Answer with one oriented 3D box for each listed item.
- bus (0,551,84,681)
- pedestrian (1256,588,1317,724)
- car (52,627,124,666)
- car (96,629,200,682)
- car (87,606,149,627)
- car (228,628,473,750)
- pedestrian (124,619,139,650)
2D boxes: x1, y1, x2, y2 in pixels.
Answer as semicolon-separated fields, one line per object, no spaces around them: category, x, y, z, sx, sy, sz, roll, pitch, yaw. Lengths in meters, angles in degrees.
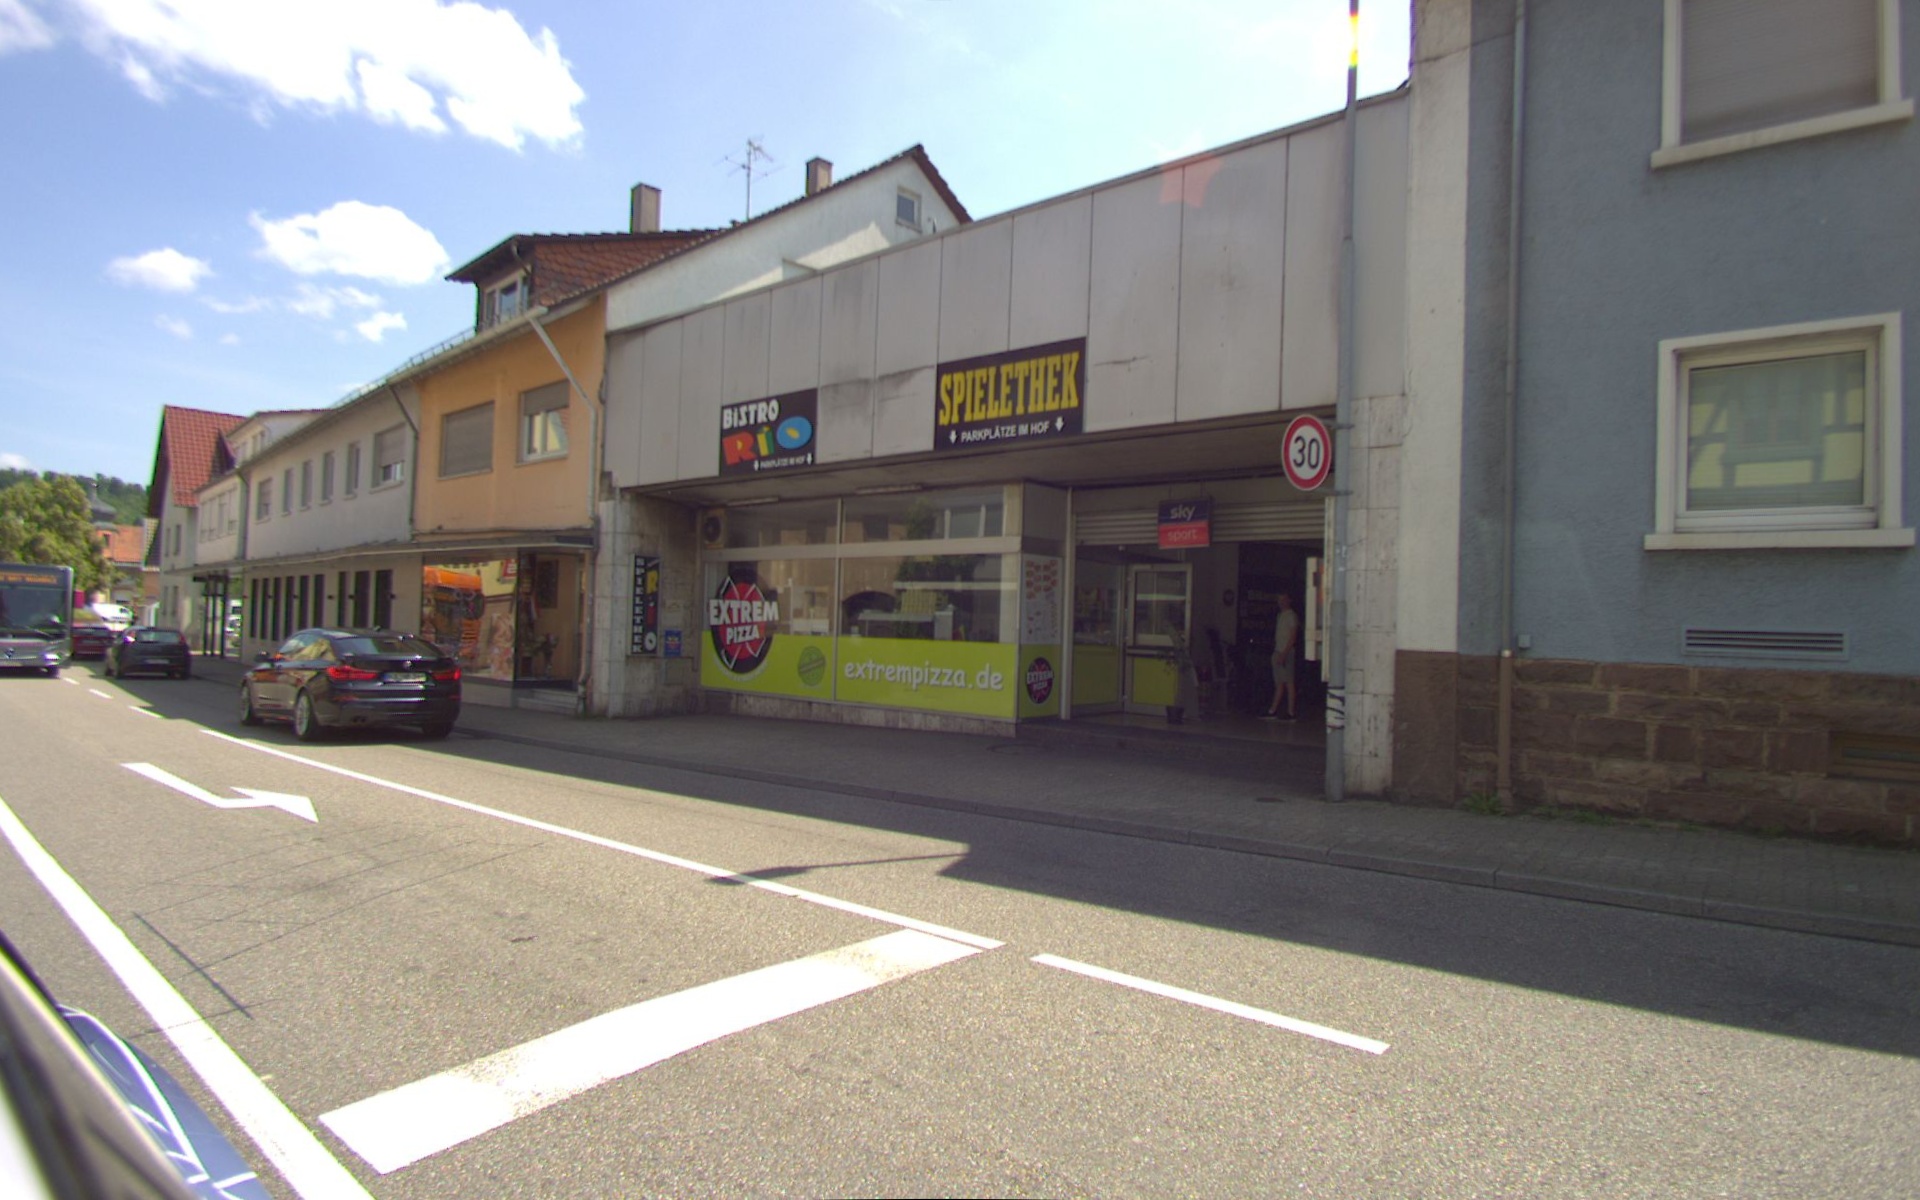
bus;-30.652;0.604;31.989;19.037;3.229;2.820;-2;-2;44
pedestrian;4.551;0.774;14.147;0.687;1.842;0.741;0;-2;10
car;-34.569;1.832;40.102;4.286;1.419;1.698;-2;-6;44
car;-23.373;1.595;29.080;3.820;1.434;1.699;-2;-5;43
car;-82.557;1.618;99.318;1.958;1.958;4.421;0;-2;10
car;-9.184;1.235;15.058;4.797;1.498;1.777;-1;-5;43
pedestrian;-48.839;2.045;59.659;0.475;1.777;0.468;1;-2;22
